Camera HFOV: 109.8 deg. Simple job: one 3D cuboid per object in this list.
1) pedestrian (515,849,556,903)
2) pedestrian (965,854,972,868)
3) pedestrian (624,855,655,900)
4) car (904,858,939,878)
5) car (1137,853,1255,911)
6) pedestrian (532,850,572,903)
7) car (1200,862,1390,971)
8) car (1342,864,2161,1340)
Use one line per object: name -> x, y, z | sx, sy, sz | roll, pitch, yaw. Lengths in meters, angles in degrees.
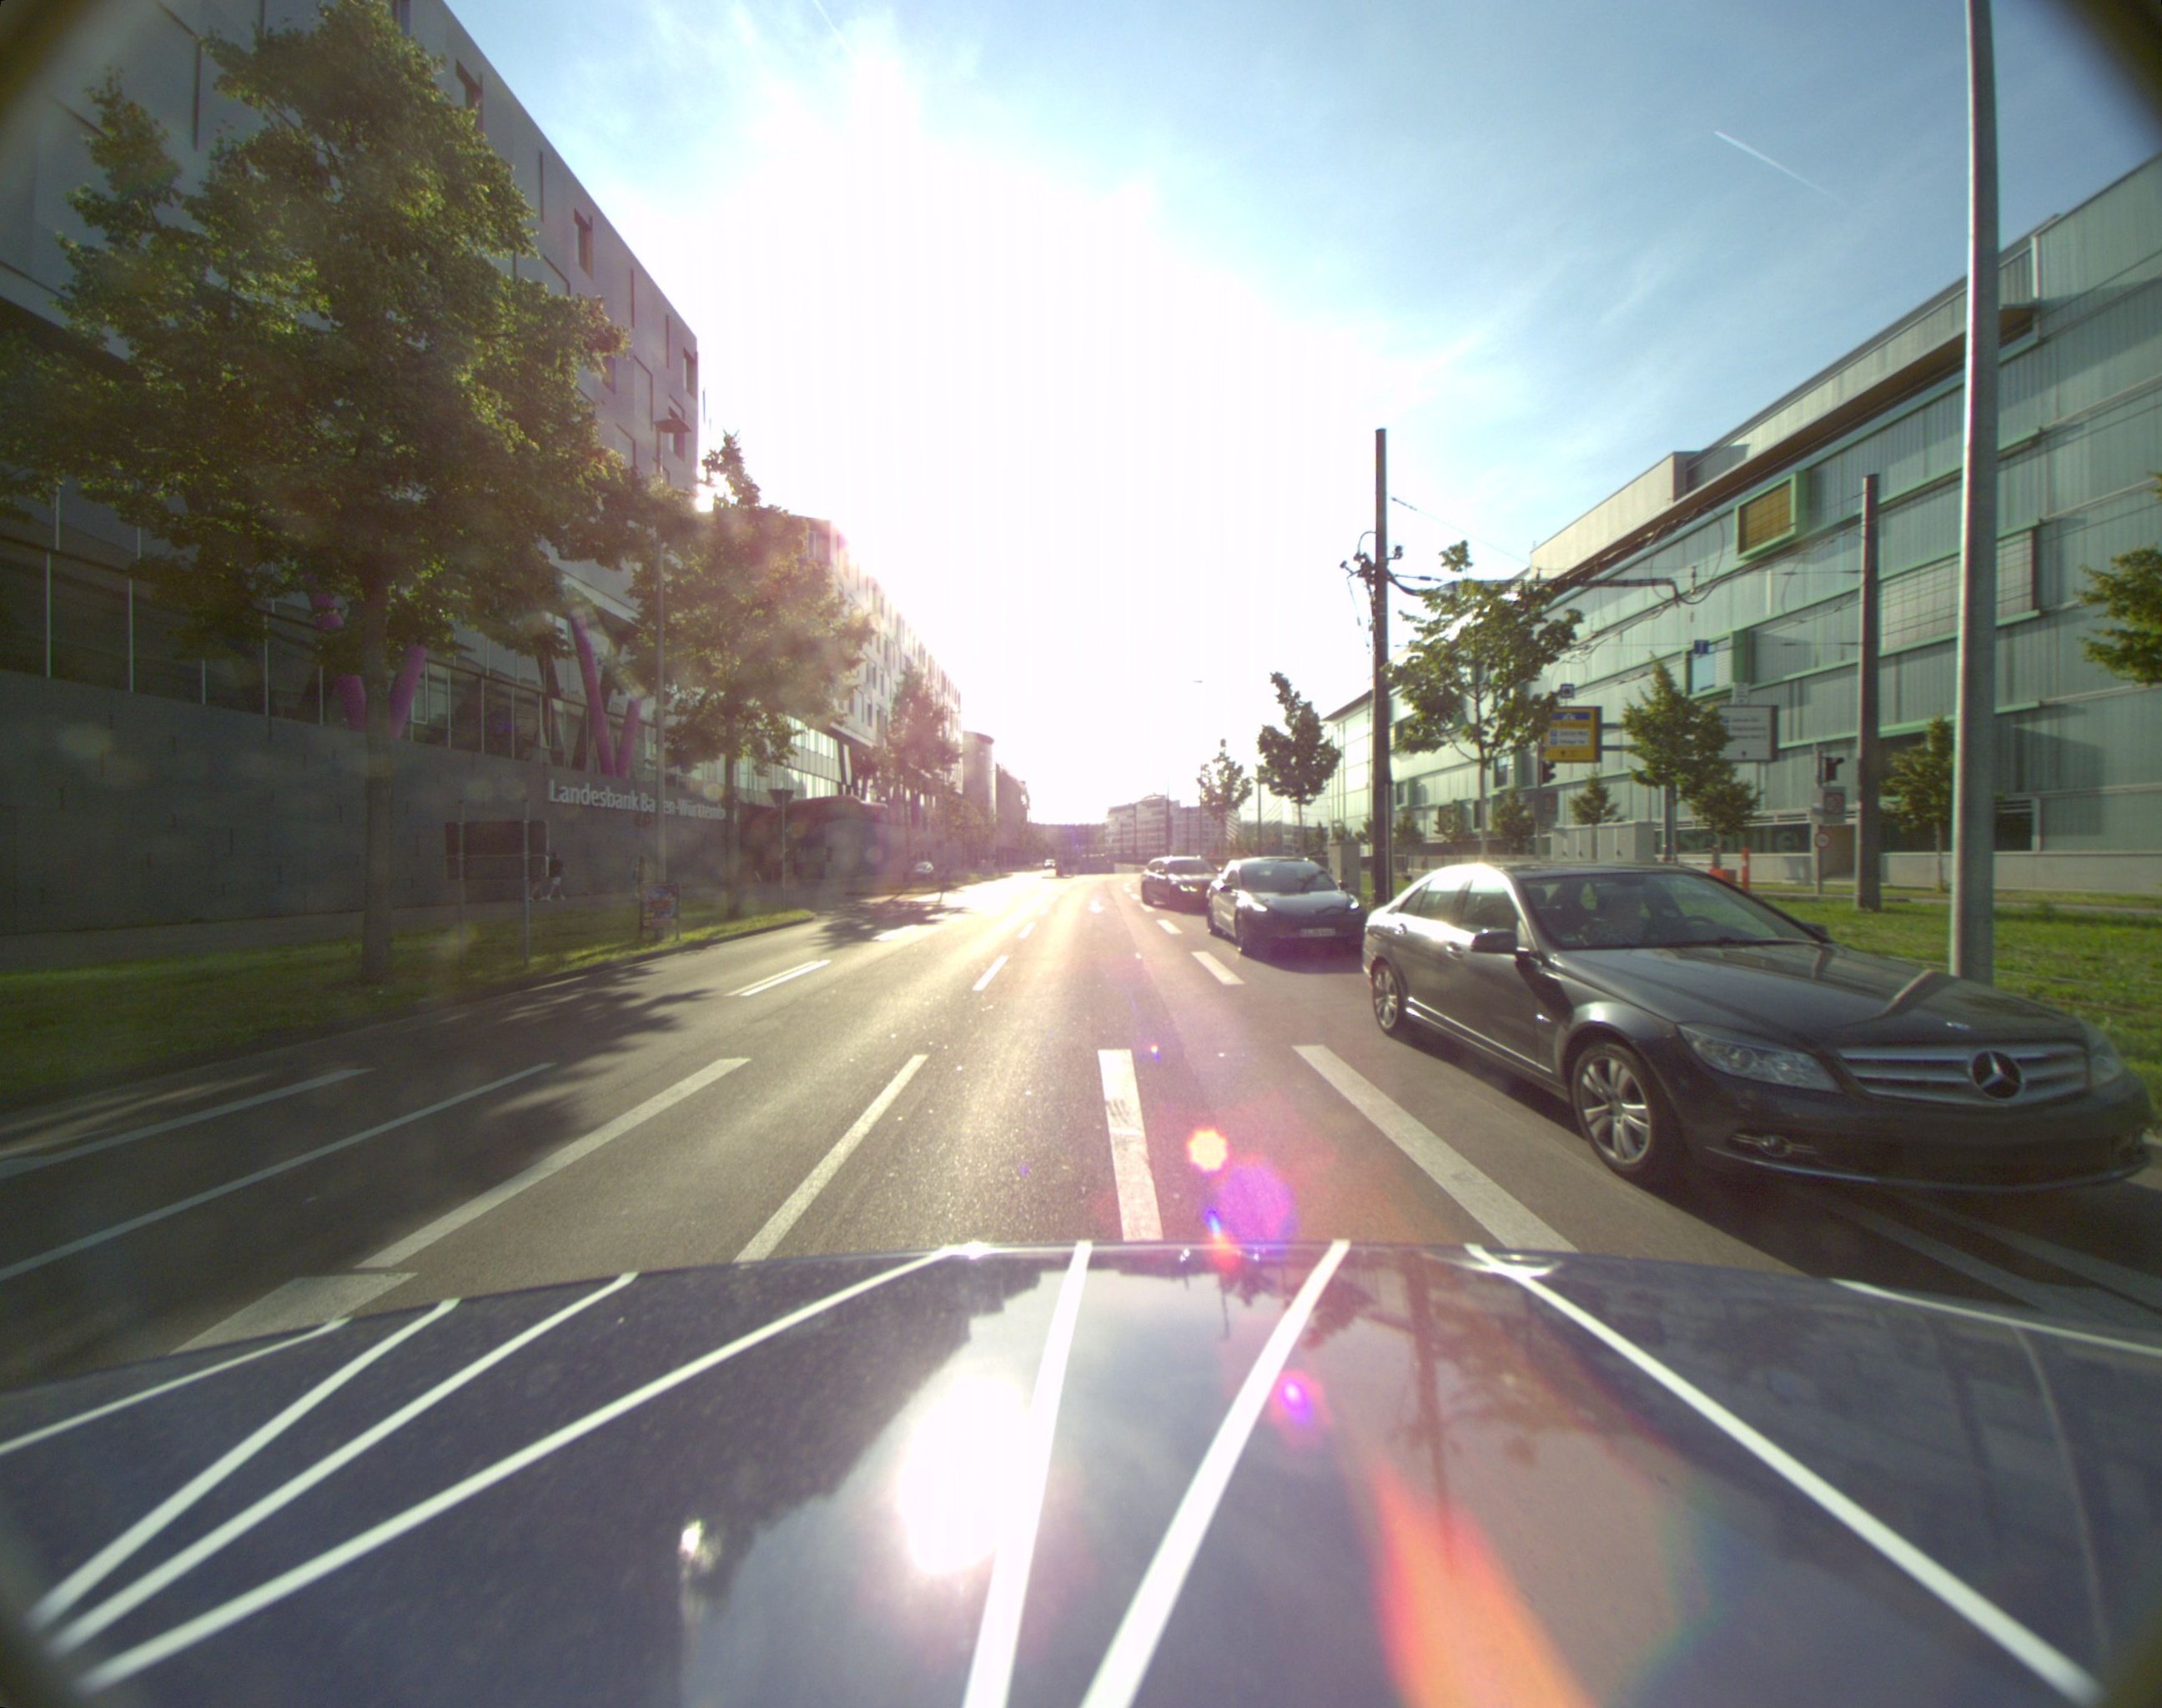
pedestrian -> -18.793, 0.734, 26.189 | 0.770, 1.814, 0.853 | 2, 0, 0
pedestrian -> -13.795, 0.873, 93.305 | 0.725, 1.776, 0.771 | 0, 1, 0
pedestrian -> -16.542, 0.881, 28.499 | 0.695, 1.629, 0.737 | 0, -1, 0
car -> -11.601, 0.990, 55.603 | 1.696, 1.382, 4.199 | 0, -1, -1
car -> 3.140, 0.748, 21.803 | 1.896, 1.418, 4.469 | -2, 0, -11
pedestrian -> -18.190, 0.764, 26.125 | 0.756, 1.783, 0.844 | 2, 0, 0
car -> 3.218, 0.871, 12.401 | 1.894, 1.377, 4.335 | -2, 0, 1
car -> 3.244, 0.844, 4.667 | 1.791, 1.470, 4.354 | -2, 0, 1
